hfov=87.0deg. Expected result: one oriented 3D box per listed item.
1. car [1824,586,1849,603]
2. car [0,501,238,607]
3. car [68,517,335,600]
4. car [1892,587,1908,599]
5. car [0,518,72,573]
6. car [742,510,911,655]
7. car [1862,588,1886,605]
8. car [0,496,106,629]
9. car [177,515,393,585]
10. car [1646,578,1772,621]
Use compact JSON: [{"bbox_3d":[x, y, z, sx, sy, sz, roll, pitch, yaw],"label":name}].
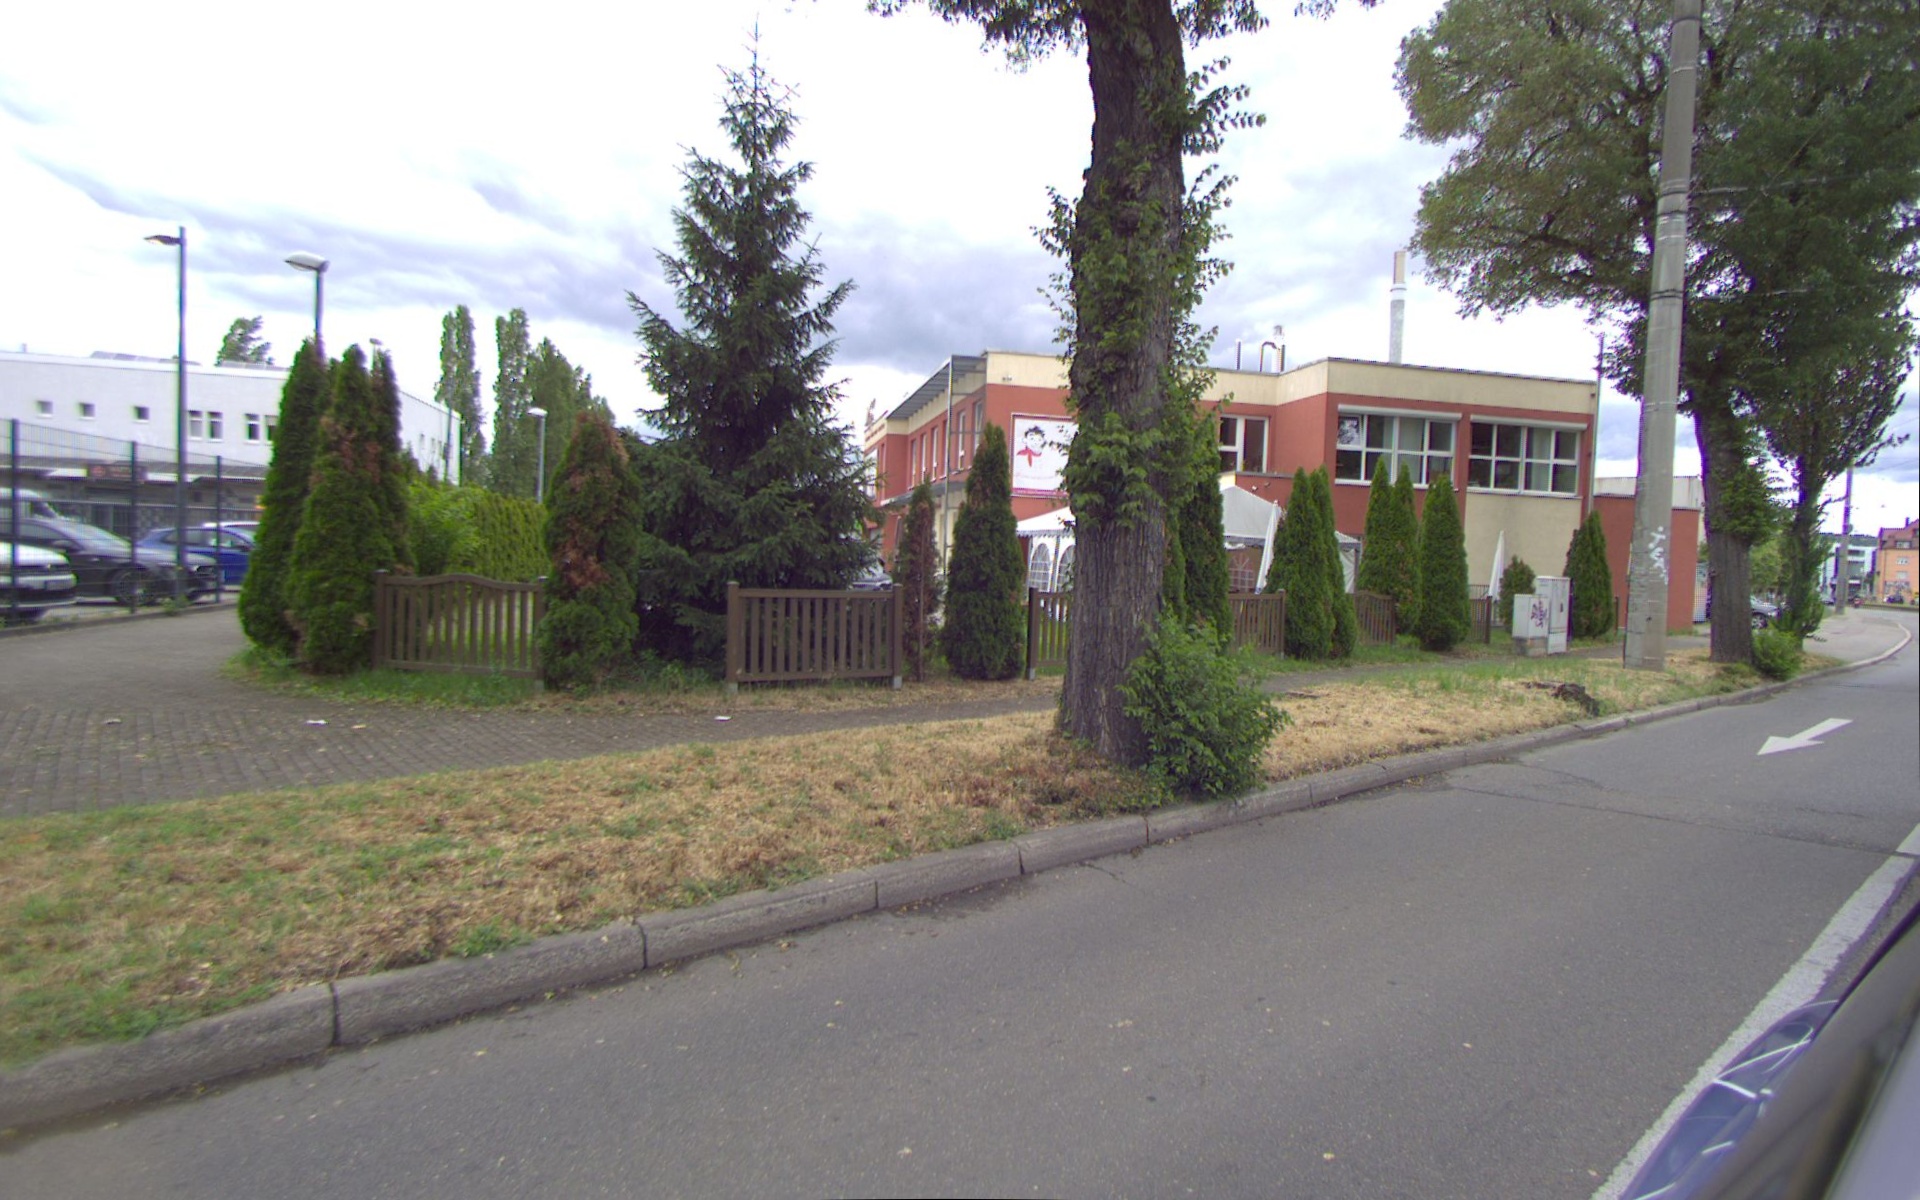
[{"bbox_3d":[106.441,-0.652,122.903,1.903,1.737,4.072,10,9,43],"label":"car"},{"bbox_3d":[-15.559,-0.812,17.656,4.407,1.686,2.005,1,2,-14],"label":"car"},{"bbox_3d":[-17.020,-0.927,22.962,4.407,1.686,2.005,1,2,-14],"label":"car"},{"bbox_3d":[163.816,-1.208,176.342,1.992,2.039,3.940,0,0,42],"label":"car"},{"bbox_3d":[-31.228,-1.723,32.071,4.181,1.670,2.004,0,0,-17],"label":"car"},{"bbox_3d":[-2.303,-0.270,16.474,1.958,2.039,4.008,0,0,-19],"label":"car"},{"bbox_3d":[97.588,-0.380,108.027,1.864,1.772,3.937,0,0,44],"label":"car"},{"bbox_3d":[-14.435,-0.561,13.350,4.407,1.686,2.005,1,2,-14],"label":"car"},{"bbox_3d":[-17.977,-1.324,27.196,4.407,1.686,2.005,1,2,-14],"label":"car"},{"bbox_3d":[30.791,-0.030,41.660,3.986,1.666,1.867,0,0,43],"label":"car"}]
